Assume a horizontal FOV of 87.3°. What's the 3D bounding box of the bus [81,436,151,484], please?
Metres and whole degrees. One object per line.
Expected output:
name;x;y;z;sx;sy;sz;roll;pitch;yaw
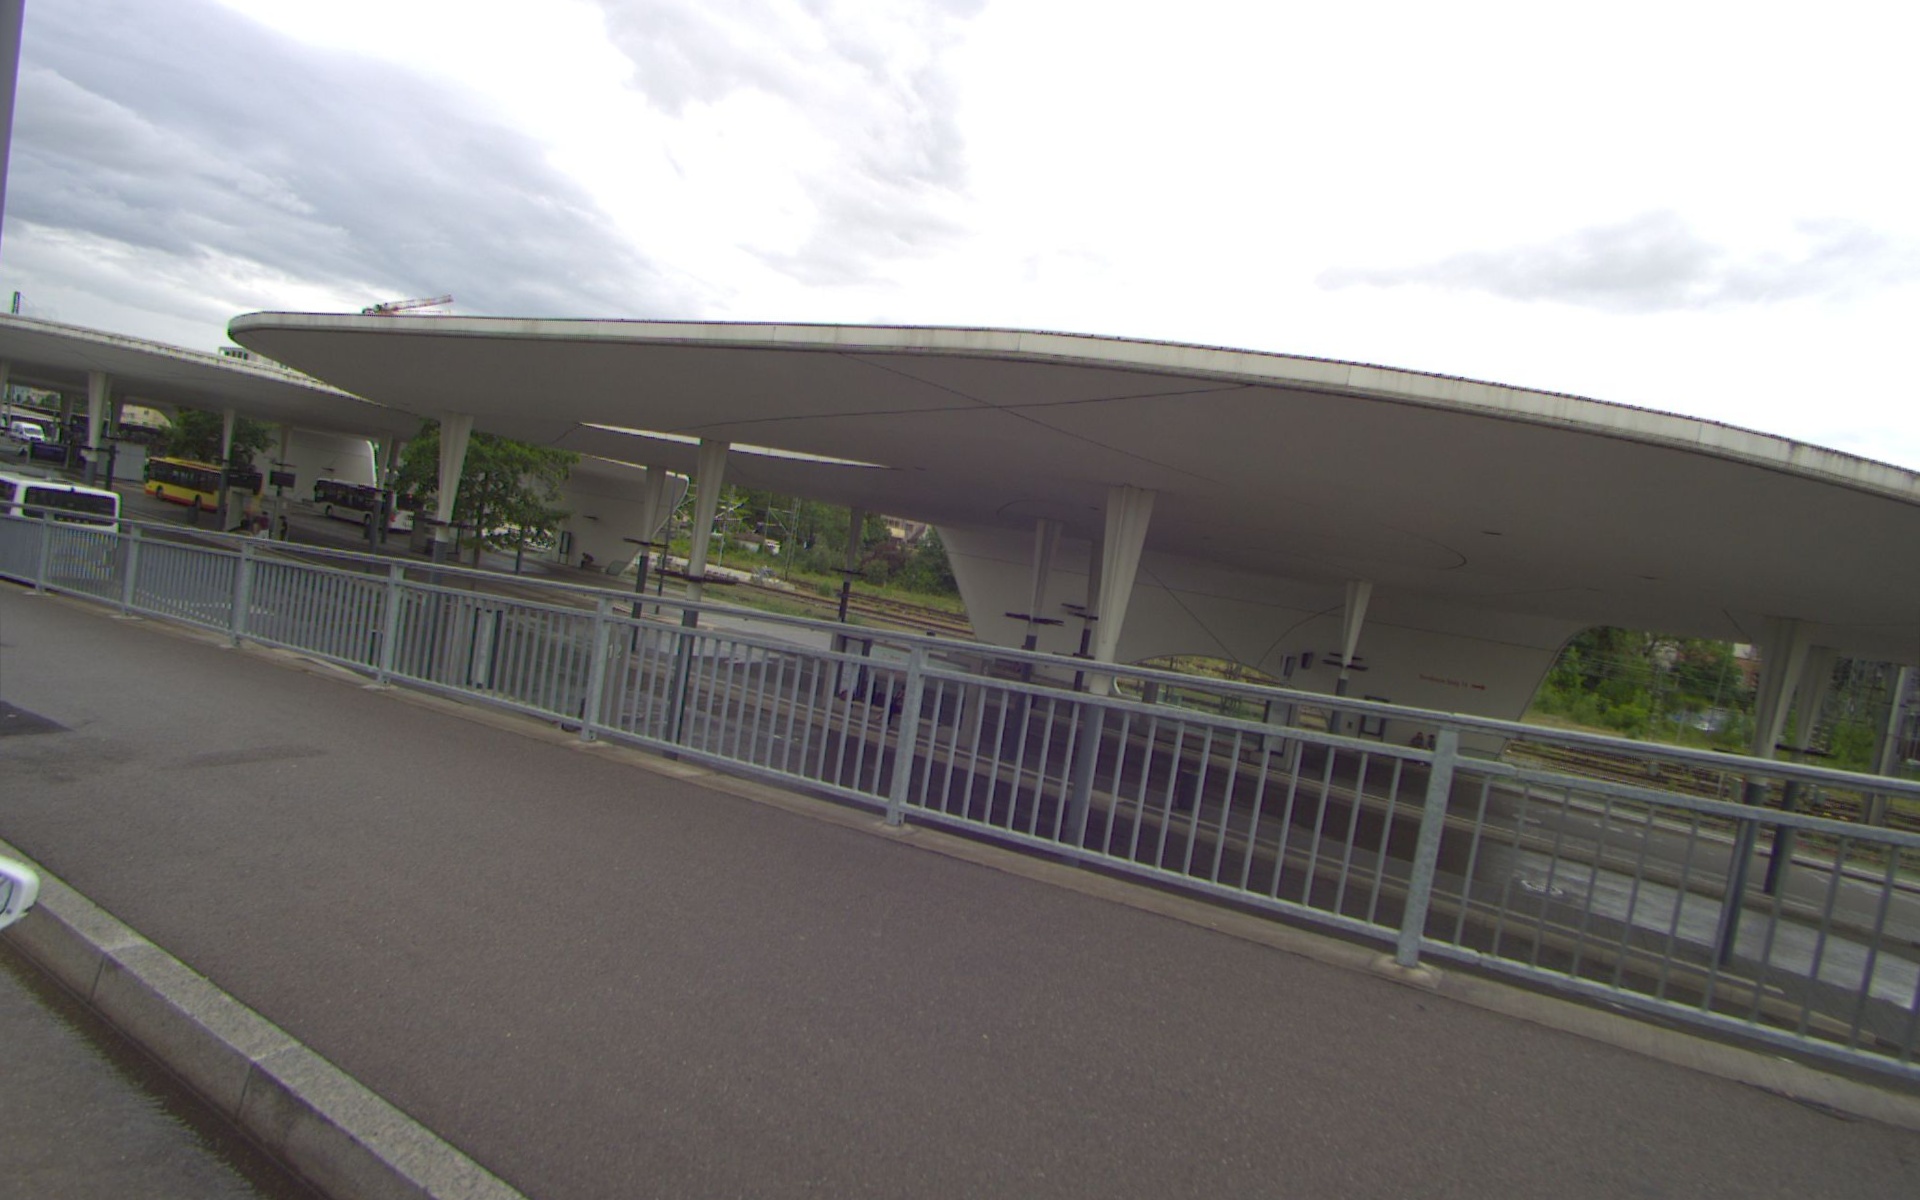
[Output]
bus;-71.715;-11.893;85.410;6.880;3.252;2.600;9;3;34

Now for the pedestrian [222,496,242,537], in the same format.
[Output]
pedestrian;-38.138;-4.353;52.697;0.570;2.040;0.544;8;3;33

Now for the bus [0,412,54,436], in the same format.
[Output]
bus;-120.925;-22.604;126.492;2.133;2.039;10.182;8;1;29

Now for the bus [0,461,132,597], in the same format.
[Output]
bus;-29.413;-2.438;31.519;6.948;3.275;2.653;12;1;29

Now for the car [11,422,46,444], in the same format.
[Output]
car;-111.053;-19.973;119.979;3.933;2.040;1.995;9;3;32

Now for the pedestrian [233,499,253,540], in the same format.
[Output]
pedestrian;-36.905;-4.145;51.759;0.570;2.040;0.544;8;3;33

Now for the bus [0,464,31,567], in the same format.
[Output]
bus;-35.526;-3.414;34.875;6.948;3.279;2.649;12;4;29

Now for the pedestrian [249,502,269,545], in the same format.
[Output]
pedestrian;-34.902;-3.803;50.074;0.475;2.040;0.560;8;3;34
